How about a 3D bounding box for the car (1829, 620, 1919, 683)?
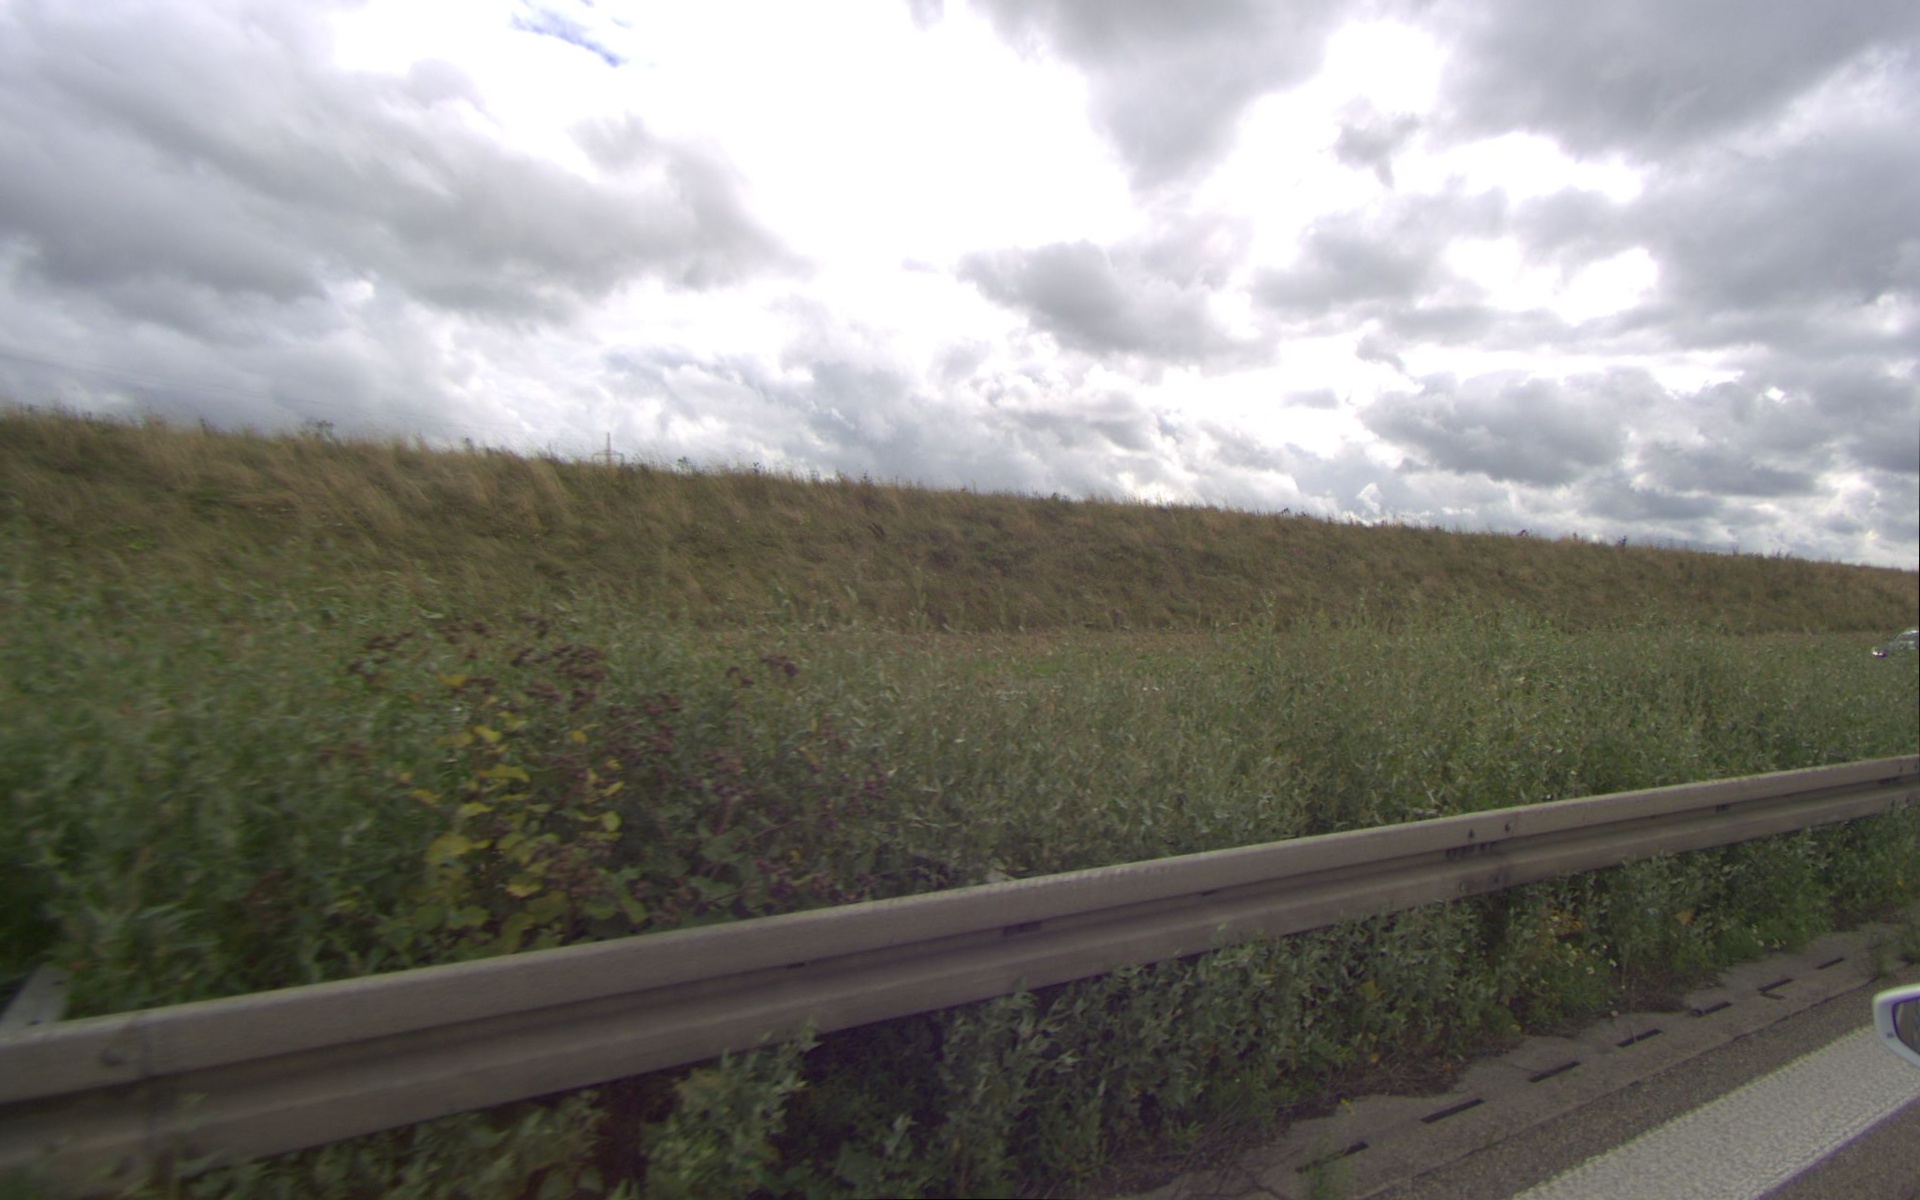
[{"bbox_3d":[28.310,1.547,30.430,3.953,1.725,1.808,2,0,-30],"label":"car"}]
